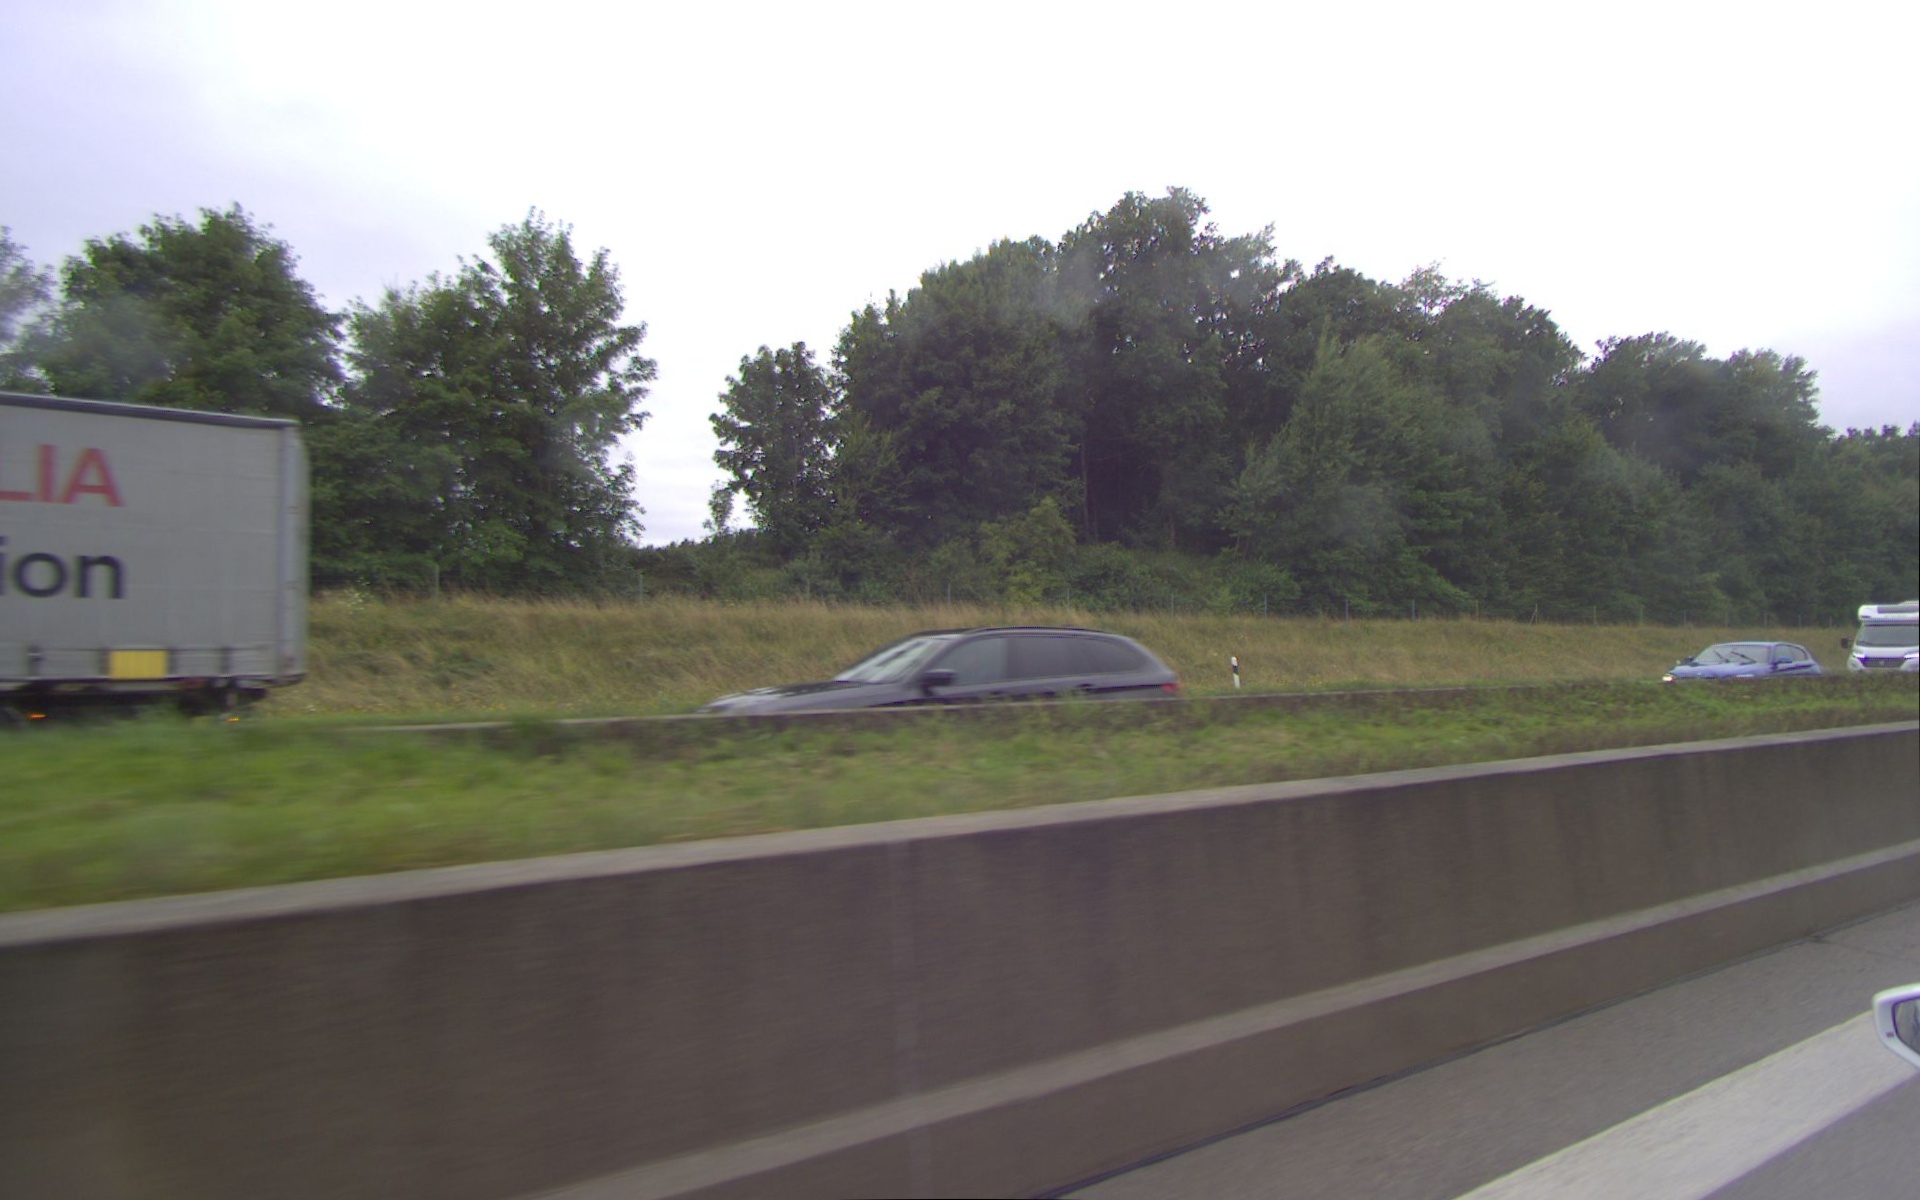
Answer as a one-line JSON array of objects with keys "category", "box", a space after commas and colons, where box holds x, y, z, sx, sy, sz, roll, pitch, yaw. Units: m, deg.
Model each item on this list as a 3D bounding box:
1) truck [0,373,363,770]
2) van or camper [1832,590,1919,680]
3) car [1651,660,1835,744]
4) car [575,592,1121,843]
[{"category": "truck", "box": [-11.652, -0.266, 11.200, 8.493, 4.194, 2.573, 1, -3, -31]}, {"category": "van or camper", "box": [32.348, 1.226, 33.708, 7.625, 2.771, 2.401, 2, -3, -31]}, {"category": "car", "box": [16.940, 2.129, 21.681, 4.414, 1.536, 1.656, 1, -2, -31]}, {"category": "car", "box": [-0.871, 0.857, 8.748, 4.403, 1.709, 1.752, 1, -1, -31]}]
